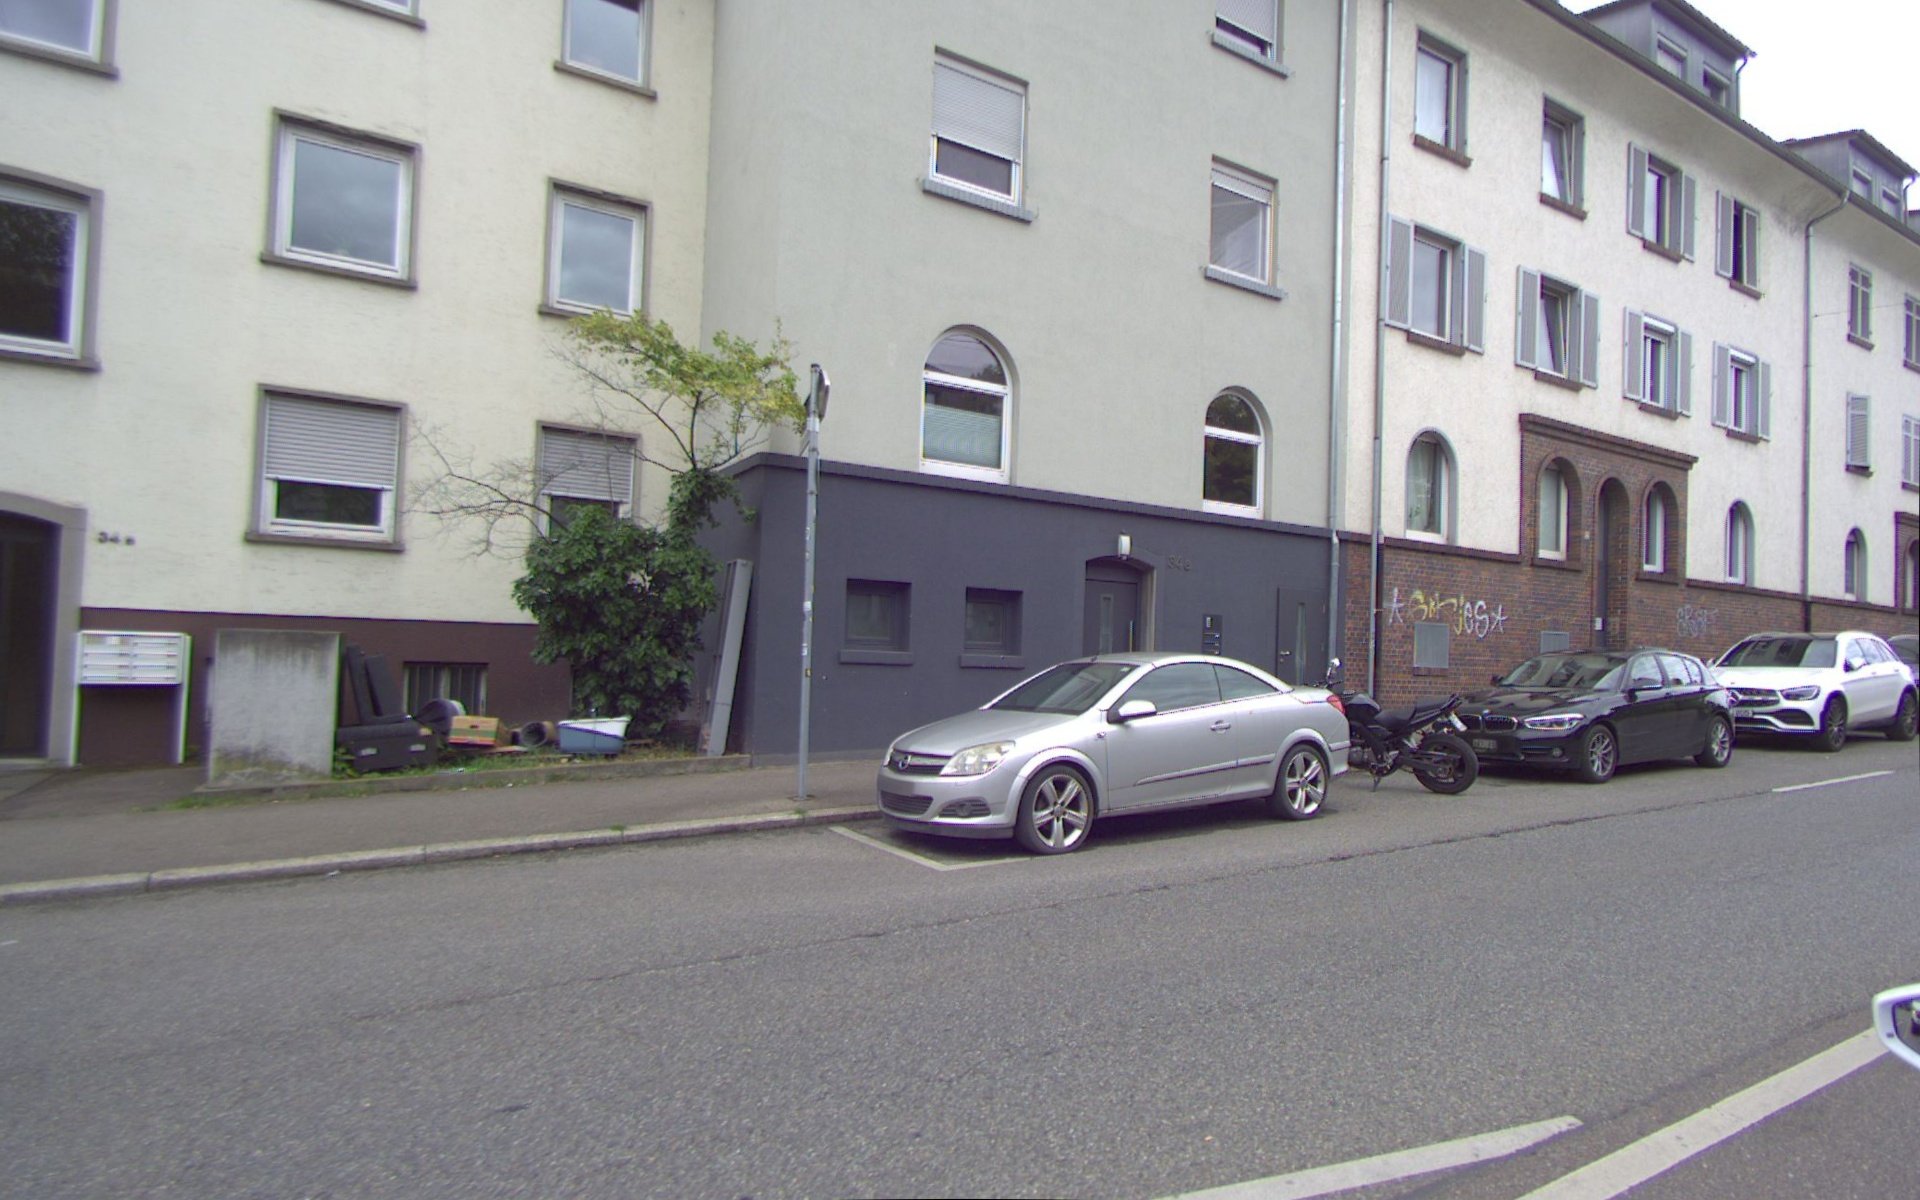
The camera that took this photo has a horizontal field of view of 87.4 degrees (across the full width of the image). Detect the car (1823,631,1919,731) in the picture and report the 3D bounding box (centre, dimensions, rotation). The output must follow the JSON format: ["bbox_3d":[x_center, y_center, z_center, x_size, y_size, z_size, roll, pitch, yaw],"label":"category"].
[{"bbox_3d":[17.217,1.350,17.583,4.445,1.620,1.720,1,-2,-28],"label":"car"}]

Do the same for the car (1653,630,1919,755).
[{"bbox_3d":[12.678,1.284,15.248,4.590,1.642,1.836,1,-2,-31],"label":"car"}]

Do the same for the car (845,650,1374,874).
[{"bbox_3d":[1.347,1.140,8.380,4.288,1.392,1.718,1,-2,-32],"label":"car"}]

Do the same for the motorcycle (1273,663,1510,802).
[{"bbox_3d":[4.311,1.281,10.155,2.018,1.251,0.803,-4,-4,43],"label":"motorcycle"}]

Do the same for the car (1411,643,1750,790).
[{"bbox_3d":[7.443,1.257,11.965,4.143,1.448,1.719,1,-2,-31],"label":"car"}]
